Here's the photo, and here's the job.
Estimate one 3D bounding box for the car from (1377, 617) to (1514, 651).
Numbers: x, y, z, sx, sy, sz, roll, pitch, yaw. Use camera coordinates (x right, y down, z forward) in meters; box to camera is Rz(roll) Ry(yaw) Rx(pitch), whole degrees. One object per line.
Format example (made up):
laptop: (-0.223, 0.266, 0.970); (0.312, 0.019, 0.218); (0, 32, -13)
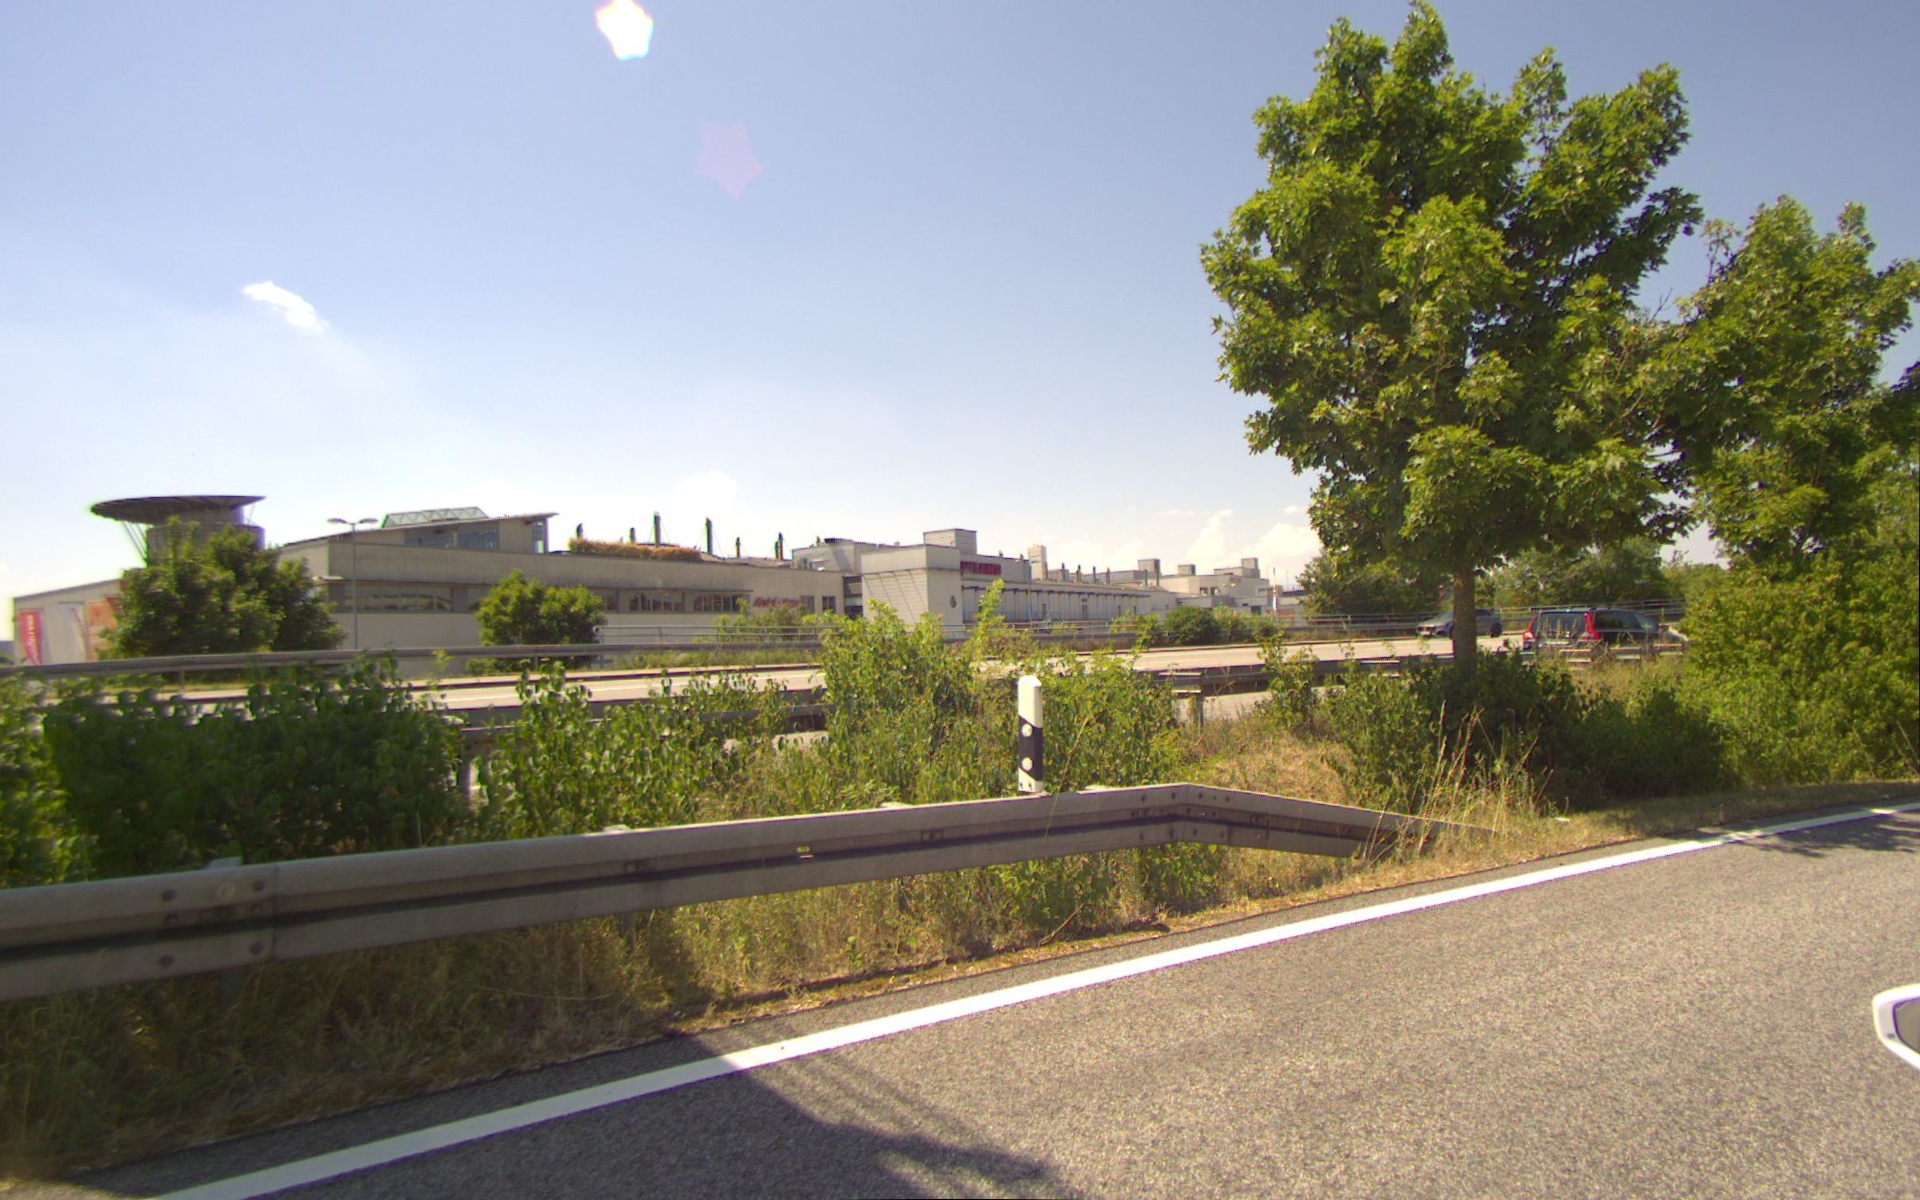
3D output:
car: (22.338, 1.562, 46.234); (5.744, 1.461, 2.151); (1, -1, -18)

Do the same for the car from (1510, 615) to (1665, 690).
car: (14.644, 1.200, 23.331); (4.696, 1.565, 1.717); (2, -4, -41)
